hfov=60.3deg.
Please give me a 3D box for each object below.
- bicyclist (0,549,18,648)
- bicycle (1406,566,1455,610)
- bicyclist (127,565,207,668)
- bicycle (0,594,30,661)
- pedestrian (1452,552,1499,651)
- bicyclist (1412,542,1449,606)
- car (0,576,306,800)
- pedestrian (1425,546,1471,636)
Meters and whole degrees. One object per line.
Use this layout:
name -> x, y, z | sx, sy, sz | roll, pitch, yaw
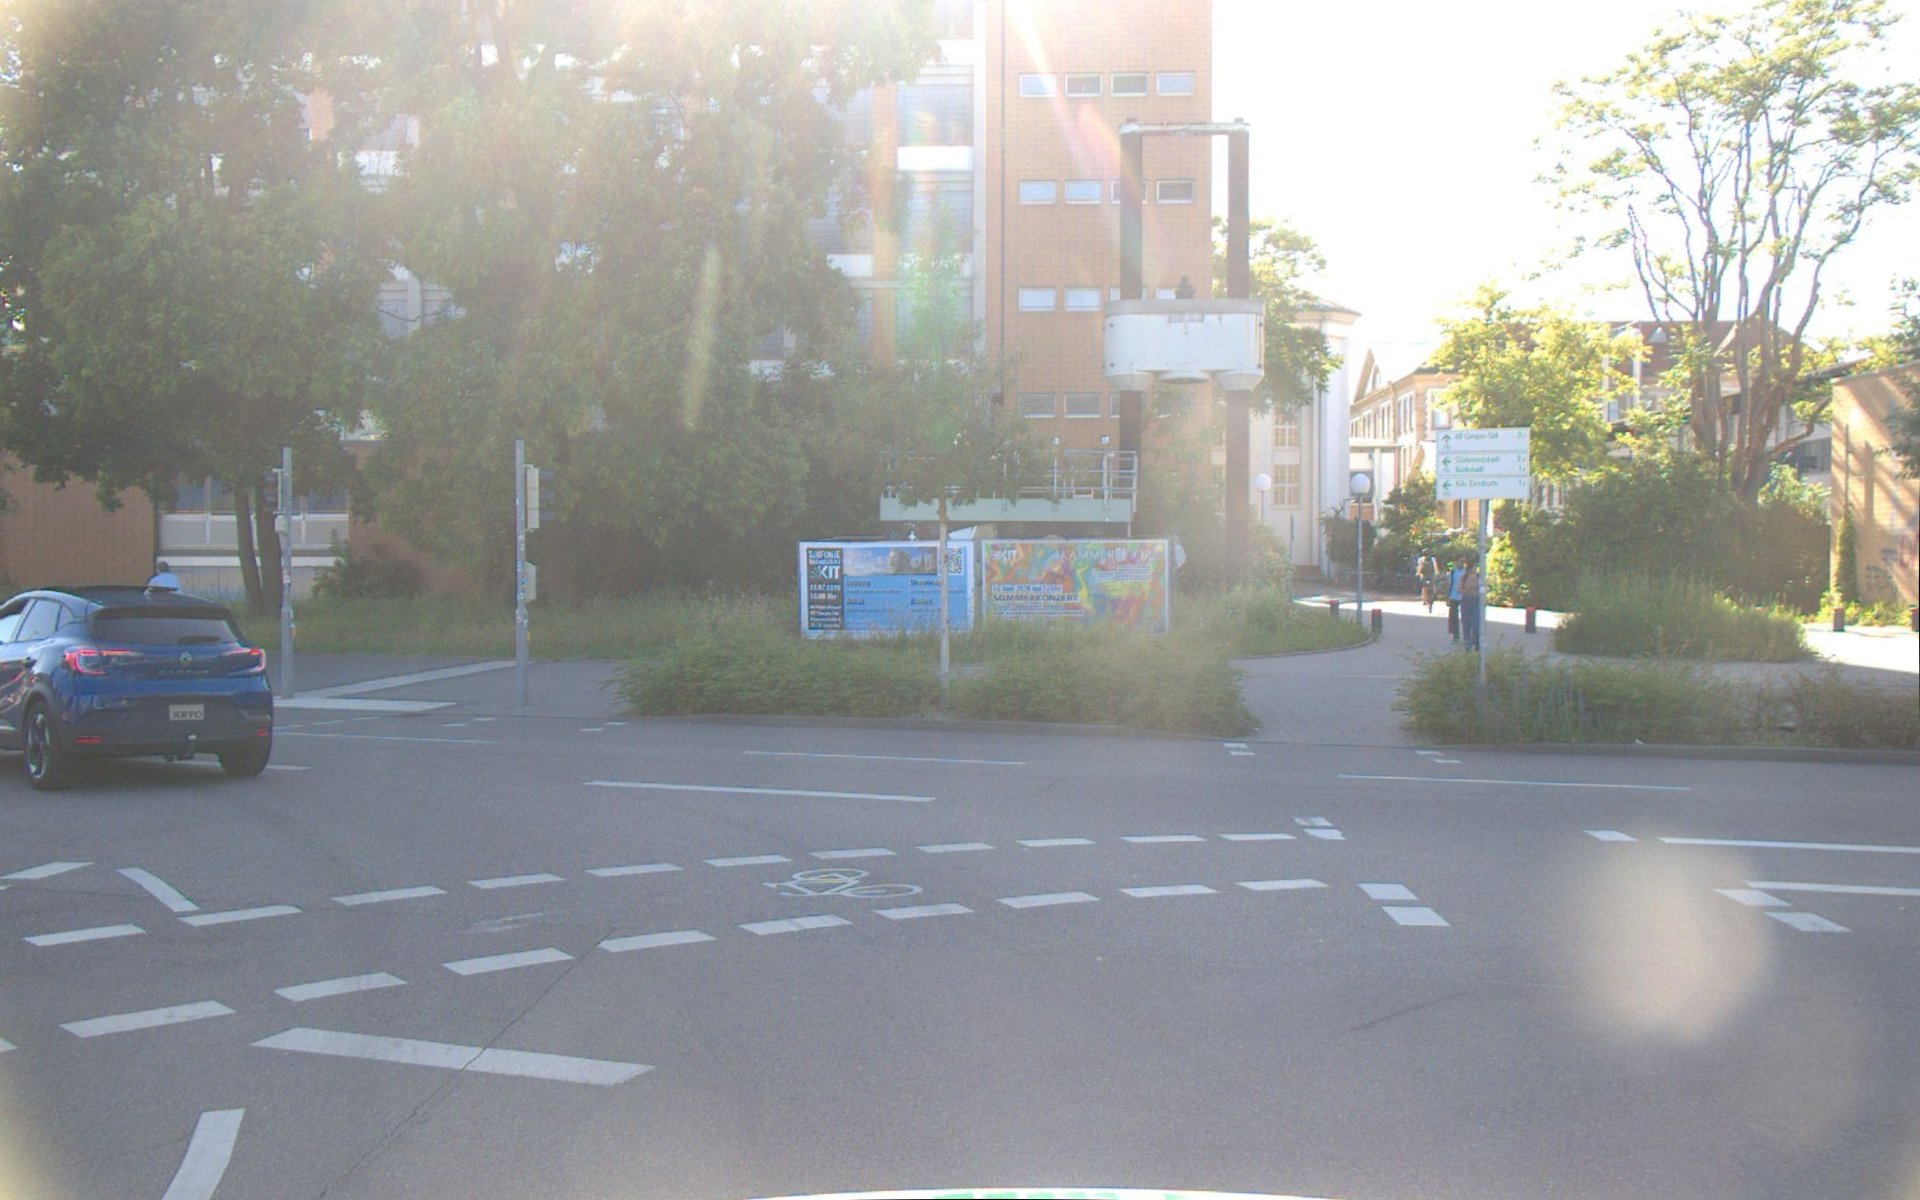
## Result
bicyclist -> -17.829, -0.031, 30.219 | 0.958, 1.793, 0.719 | 1, 2, 35
bicycle -> 13.090, -0.347, 45.995 | 0.733, 1.185, 1.863 | 1, 2, 35
bicyclist -> -13.066, 0.258, 27.257 | 0.955, 1.645, 0.722 | 1, 1, 24
bicycle -> -17.831, 0.486, 30.225 | 1.833, 1.185, 0.745 | 1, 2, 36
pedestrian -> 9.005, 0.024, 28.877 | 0.662, 1.671, 0.736 | 3, 1, 21
bicyclist -> 13.083, -0.735, 45.979 | 0.707, 1.765, 0.974 | 1, 2, 36
car -> -7.470, 0.635, 14.466 | 3.732, 1.645, 1.871 | 1, 2, 44
pedestrian -> 9.319, -0.172, 31.565 | 0.662, 1.671, 0.735 | 3, 1, 26
